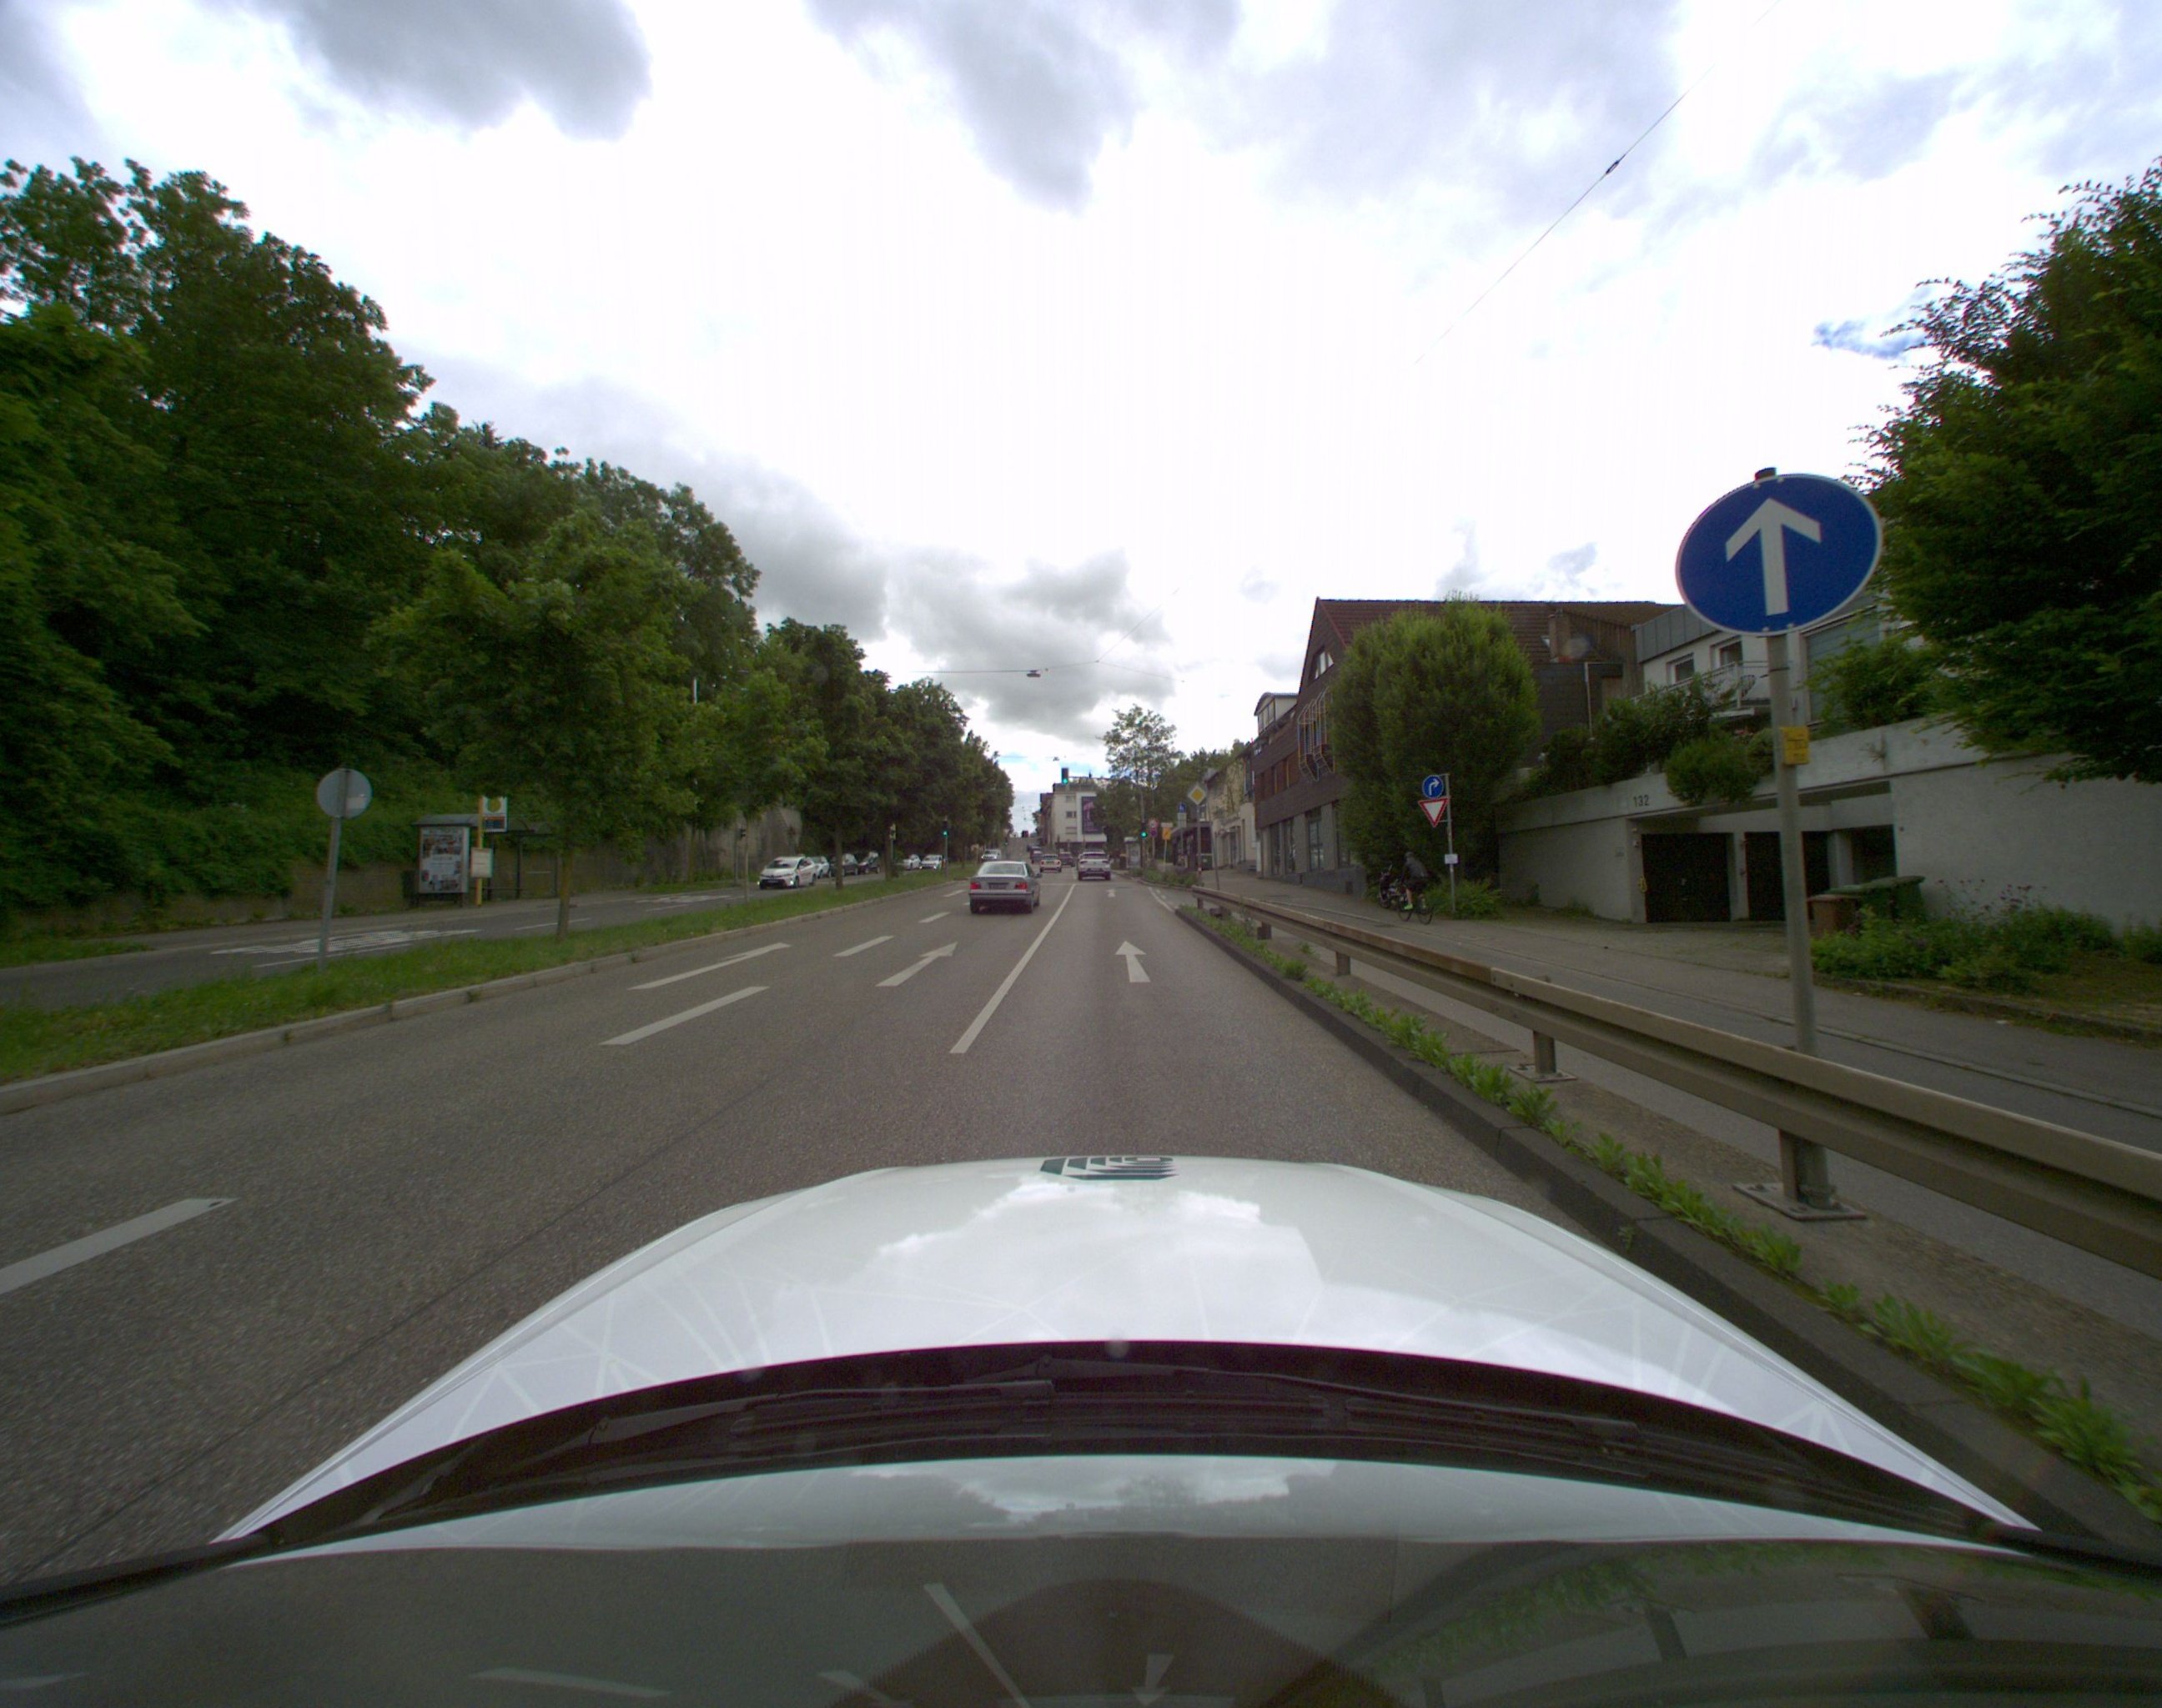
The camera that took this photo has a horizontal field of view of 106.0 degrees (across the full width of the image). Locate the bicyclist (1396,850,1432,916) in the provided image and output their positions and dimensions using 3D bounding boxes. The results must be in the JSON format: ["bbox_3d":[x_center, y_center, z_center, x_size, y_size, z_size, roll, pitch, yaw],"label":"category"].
[{"bbox_3d":[8.376,0.708,20.518,0.536,1.633,0.947,0,0,0],"label":"bicyclist"}]

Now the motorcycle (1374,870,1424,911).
[{"bbox_3d":[9.138,1.030,23.496,0.693,1.051,1.968,-2,0,1],"label":"motorcycle"}]

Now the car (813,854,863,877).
[{"bbox_3d":[-17.673,0.808,59.469,1.961,1.656,4.536,0,0,4],"label":"car"}]

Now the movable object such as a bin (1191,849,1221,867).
[{"bbox_3d":[10.141,0.286,66.276,1.881,1.451,4.002,0,0,2],"label":"movable object such as a bin"}]

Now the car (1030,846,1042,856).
[{"bbox_3d":[-7.256,-0.423,130.950,1.776,1.579,3.994,0,1,-4],"label":"car"}]

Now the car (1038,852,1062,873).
[{"bbox_3d":[-2.547,0.659,65.533,1.776,1.579,3.994,0,1,-4],"label":"car"}]

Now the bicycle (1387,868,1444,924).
[{"bbox_3d":[8.420,1.029,20.569,0.569,1.262,2.038,-2,1,-1],"label":"bicycle"}]

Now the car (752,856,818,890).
[{"bbox_3d":[-14.849,0.896,41.122,1.775,1.560,4.457,0,1,-1],"label":"car"}]

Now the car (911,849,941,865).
[{"bbox_3d":[-15.804,0.284,83.101,1.702,1.528,4.311,0,1,8],"label":"car"}]

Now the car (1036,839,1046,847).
[{"bbox_3d":[-8.510,-2.321,172.203,2.085,1.613,3.996,0,1,-3],"label":"car"}]

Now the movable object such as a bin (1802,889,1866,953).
[{"bbox_3d":[12.064,1.062,13.057,0.451,0.940,0.560,-4,0,0],"label":"movable object such as a bin"}]

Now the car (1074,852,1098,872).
[{"bbox_3d":[0.372,0.584,62.988,1.775,1.409,3.998,0,1,-1],"label":"car"}]

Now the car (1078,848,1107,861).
[{"bbox_3d":[1.931,0.028,137.734,4.679,1.712,2.316,4,3,-5],"label":"car"}]

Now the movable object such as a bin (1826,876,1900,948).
[{"bbox_3d":[12.542,0.914,13.066,0.540,1.054,0.560,-7,0,0],"label":"movable object such as a bin"}]

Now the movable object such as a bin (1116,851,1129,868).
[{"bbox_3d":[3.575,0.470,70.102,1.082,1.481,1.537,0,0,0],"label":"movable object such as a bin"}]

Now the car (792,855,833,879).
[{"bbox_3d":[-18.004,0.850,54.805,1.775,1.498,3.096,0,1,-1],"label":"car"}]

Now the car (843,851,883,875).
[{"bbox_3d":[-17.413,0.685,65.180,1.772,1.843,4.491,0,1,3],"label":"car"}]

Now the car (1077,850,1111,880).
[{"bbox_3d":[0.681,0.560,45.563,1.775,1.579,3.998,0,1,-1],"label":"car"}]

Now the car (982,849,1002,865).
[{"bbox_3d":[-10.926,0.333,99.824,1.933,1.957,5.020,0,1,-1],"label":"car"}]

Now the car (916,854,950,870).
[{"bbox_3d":[-13.578,0.717,74.811,1.717,1.428,3.803,0,1,12],"label":"car"}]

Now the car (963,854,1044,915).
[{"bbox_3d":[-2.038,0.771,22.418,1.700,1.464,4.002,0,1,2],"label":"car"}]

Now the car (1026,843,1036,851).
[{"bbox_3d":[-9.269,-1.282,151.910,1.776,1.579,3.994,0,1,-4],"label":"car"}]

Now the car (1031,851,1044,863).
[{"bbox_3d":[-5.931,0.438,110.356,1.776,1.579,3.994,0,1,-4],"label":"car"}]

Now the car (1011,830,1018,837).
[{"bbox_3d":[-18.663,-5.786,228.966,1.879,1.567,4.383,-1,3,-5],"label":"car"}]

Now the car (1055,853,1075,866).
[{"bbox_3d":[-1.748,0.576,89.900,1.772,1.436,4.005,0,1,4],"label":"car"}]

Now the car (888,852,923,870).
[{"bbox_3d":[-16.565,0.673,77.208,1.768,1.629,4.183,0,1,11],"label":"car"}]

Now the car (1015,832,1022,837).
[{"bbox_3d":[-18.905,-5.923,245.767,1.879,1.567,4.383,-1,3,-5],"label":"car"}]

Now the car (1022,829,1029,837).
[{"bbox_3d":[-15.217,-5.801,224.278,1.990,2.013,3.994,0,1,-4],"label":"car"}]

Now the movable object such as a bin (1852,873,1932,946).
[{"bbox_3d":[13.122,0.883,13.194,0.540,1.080,0.655,-7,0,0],"label":"movable object such as a bin"}]
